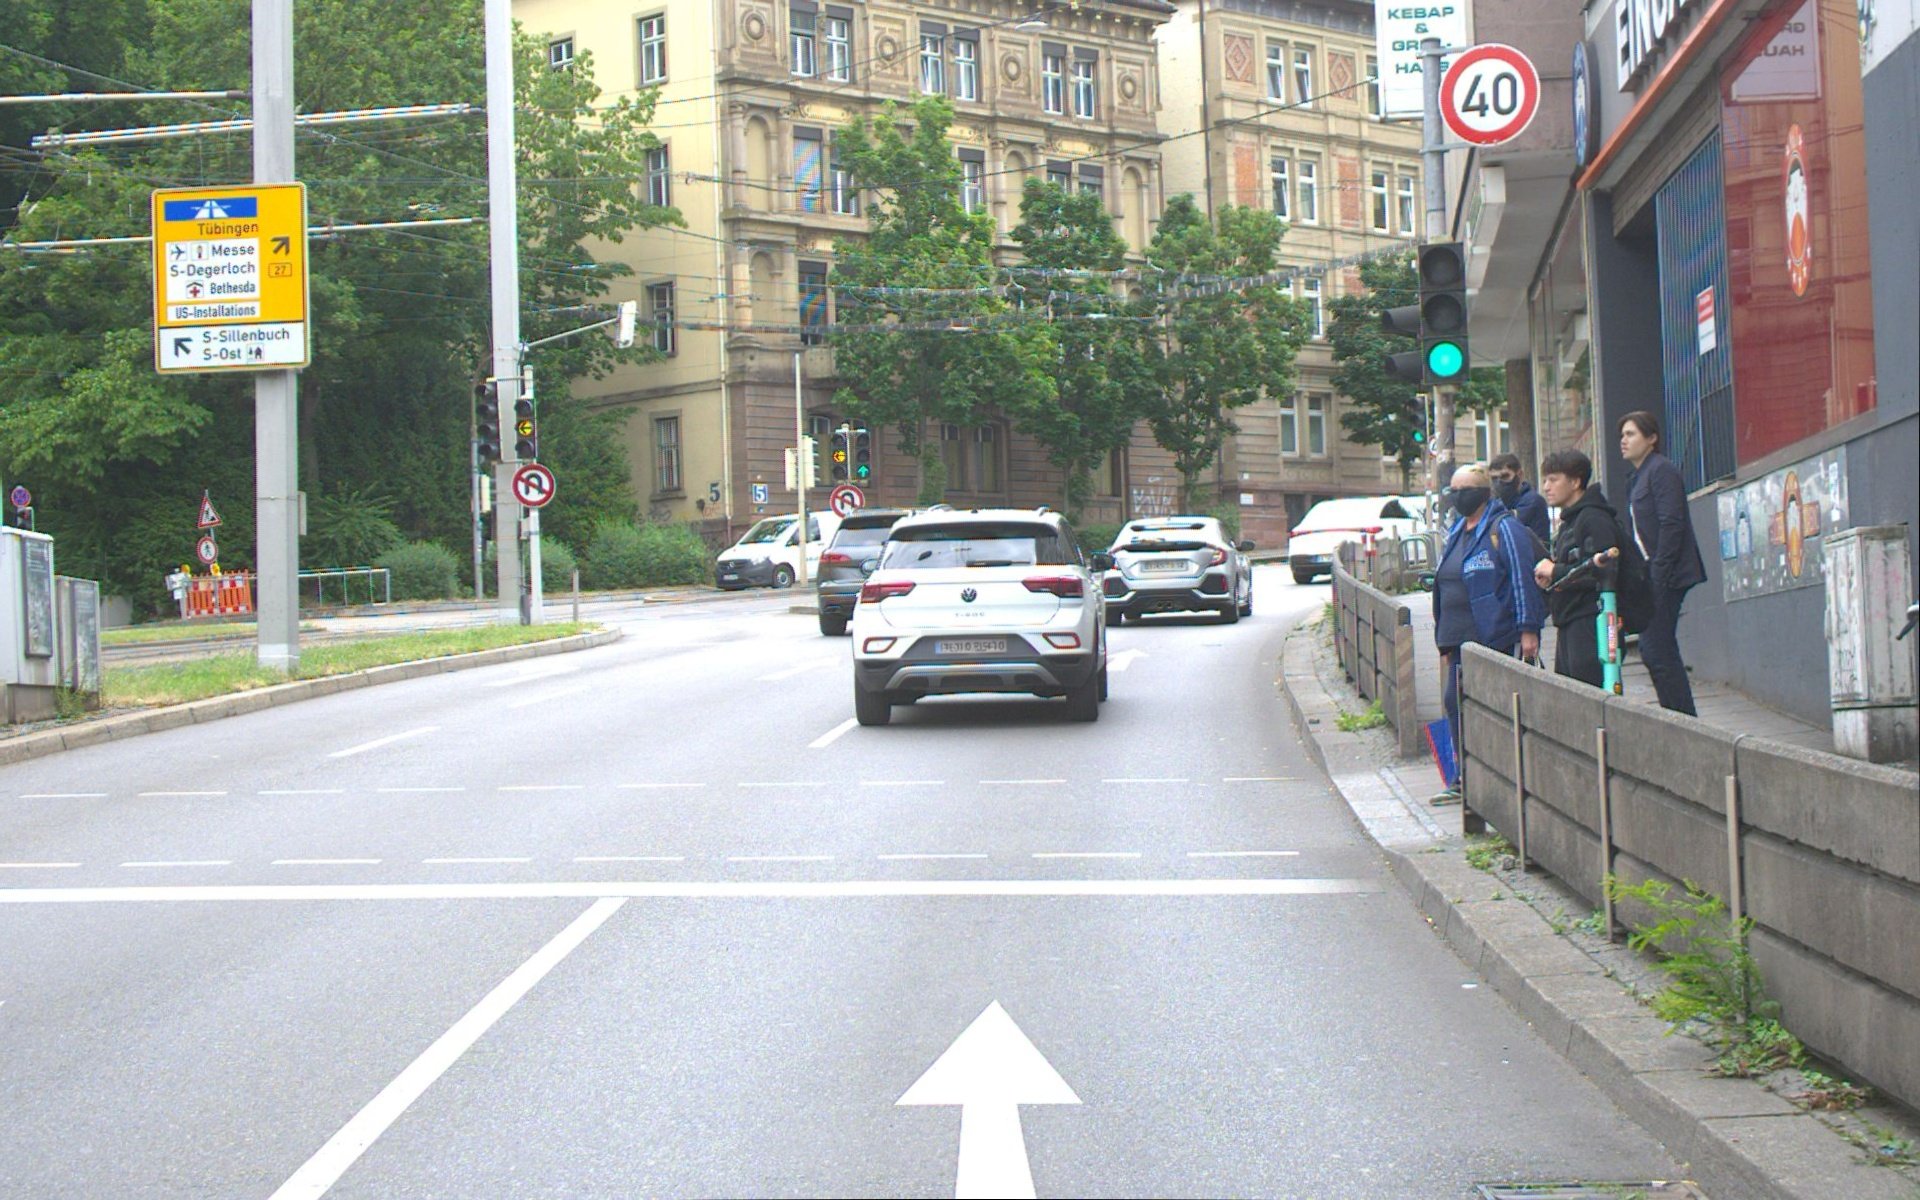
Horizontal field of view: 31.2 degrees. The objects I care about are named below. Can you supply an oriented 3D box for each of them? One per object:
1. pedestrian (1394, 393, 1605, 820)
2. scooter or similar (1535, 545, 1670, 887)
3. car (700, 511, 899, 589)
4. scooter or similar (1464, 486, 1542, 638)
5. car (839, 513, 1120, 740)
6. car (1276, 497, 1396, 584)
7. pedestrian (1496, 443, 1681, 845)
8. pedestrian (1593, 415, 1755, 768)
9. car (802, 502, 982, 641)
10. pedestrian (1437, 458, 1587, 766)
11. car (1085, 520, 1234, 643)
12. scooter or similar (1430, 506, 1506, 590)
[{"bbox_3d":[2.658,0.029,17.018,0.946,2.055,0.778,-1,1,4],"label":"pedestrian"},{"bbox_3d":[2.475,0.429,13.291,0.354,1.271,0.813,-2,1,2],"label":"scooter or similar"},{"bbox_3d":[-3.918,-1.224,84.682,1.998,1.843,4.981,-1,0,41],"label":"car"},{"bbox_3d":[5.444,-0.386,34.508,0.668,1.470,1.178,-2,1,7],"label":"scooter or similar"},{"bbox_3d":[0.155,0.157,26.156,1.938,1.561,4.046,-1,1,1],"label":"car"},{"bbox_3d":[6.865,-1.078,62.503,1.939,1.501,3.805,-1,1,10],"label":"car"},{"bbox_3d":[2.851,0.192,15.649,0.738,1.787,0.655,-1,1,4],"label":"pedestrian"},{"bbox_3d":[3.718,-0.046,17.949,0.727,1.802,0.654,-1,1,4],"label":"pedestrian"},{"bbox_3d":[-0.861,-0.418,45.998,1.840,1.733,3.999,0,2,7],"label":"car"},{"bbox_3d":[3.100,0.060,19.350,0.562,1.646,0.591,-8,1,3],"label":"pedestrian"},{"bbox_3d":[2.703,-0.257,46.216,1.903,1.568,3.834,-1,1,4],"label":"car"},{"bbox_3d":[7.428,-0.761,50.247,1.007,1.178,0.377,-3,1,-24],"label":"scooter or similar"}]
